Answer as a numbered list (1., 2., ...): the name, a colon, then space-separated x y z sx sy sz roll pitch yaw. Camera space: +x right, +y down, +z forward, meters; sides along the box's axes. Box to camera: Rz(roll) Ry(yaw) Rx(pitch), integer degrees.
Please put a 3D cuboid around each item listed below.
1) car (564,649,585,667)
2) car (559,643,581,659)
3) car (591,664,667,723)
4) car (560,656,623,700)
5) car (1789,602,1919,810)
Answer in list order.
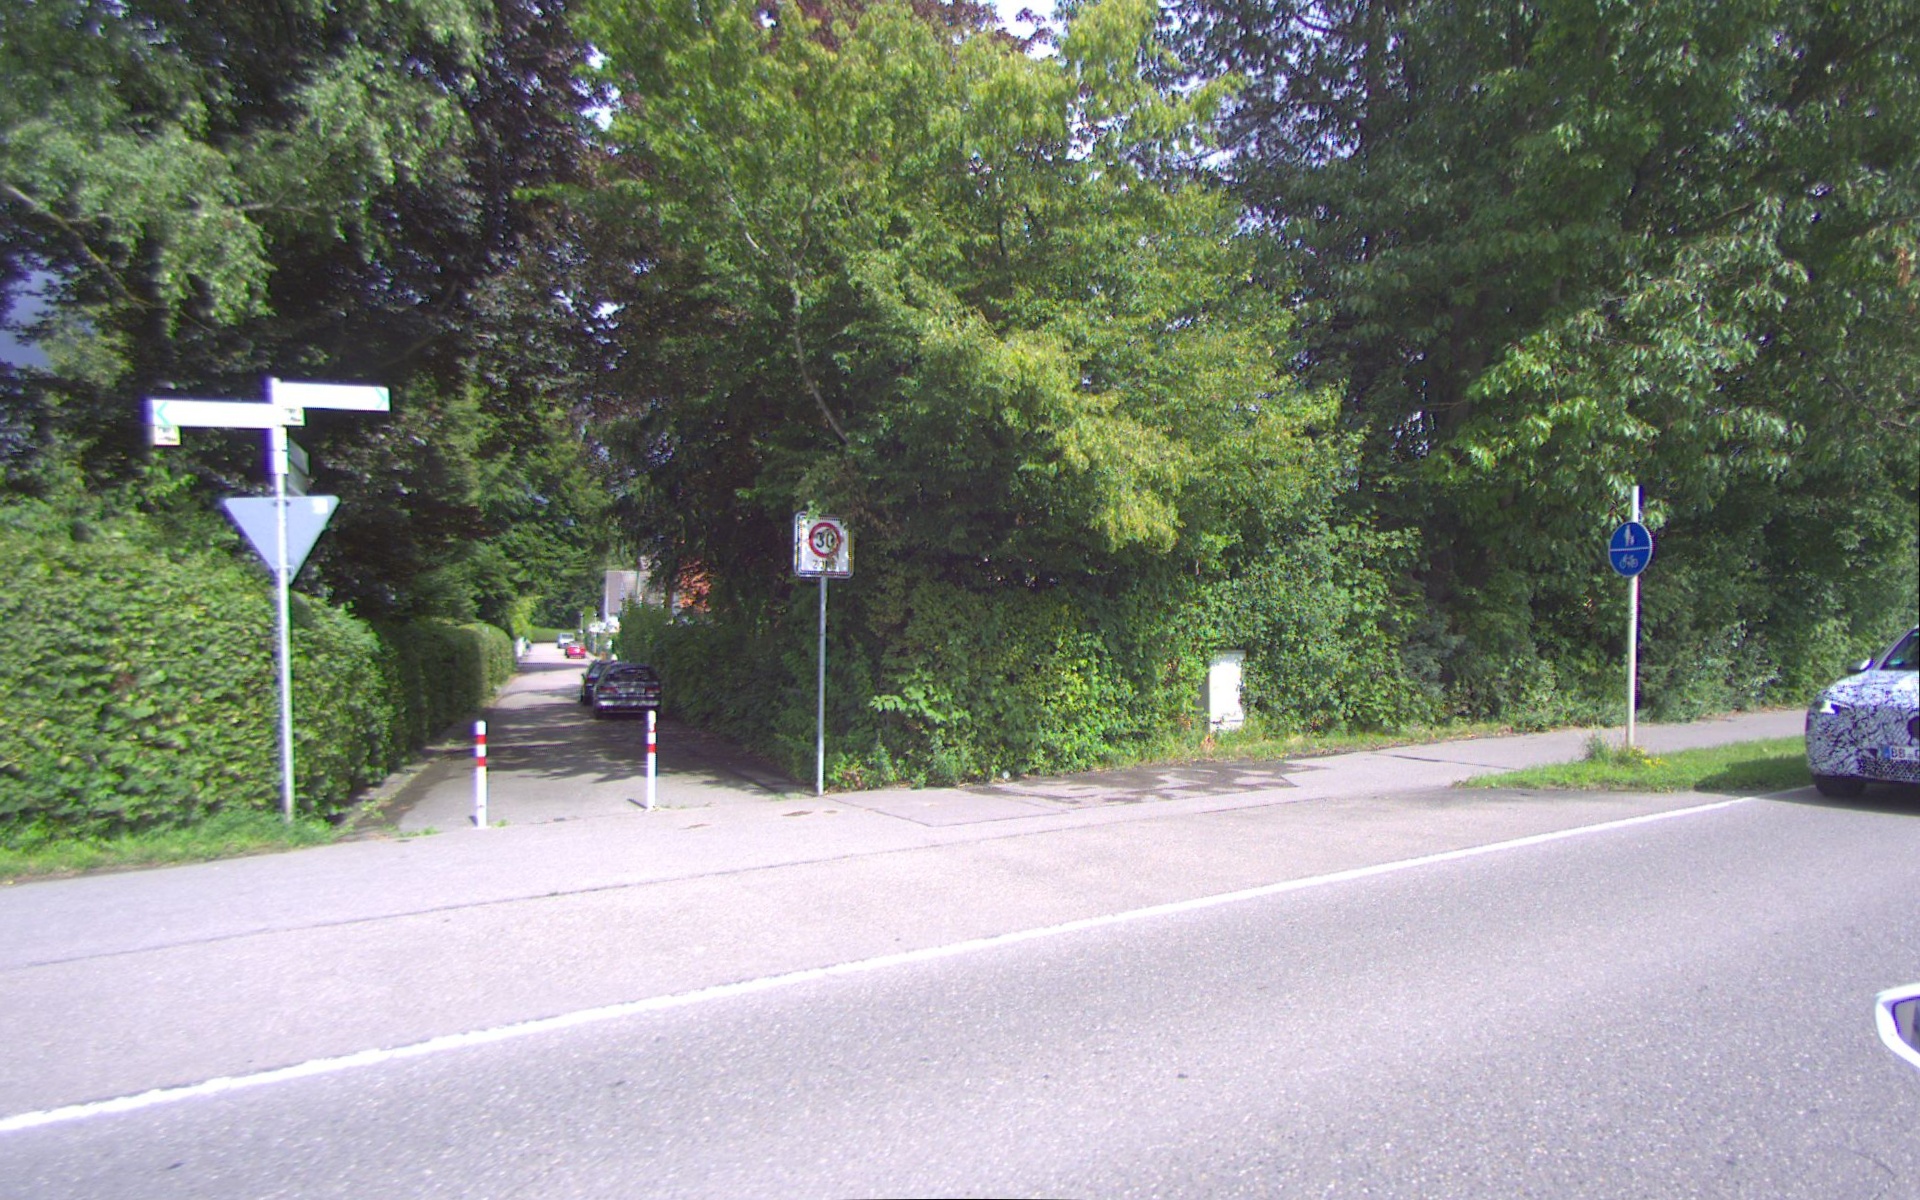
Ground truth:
1. car: -37.208 5.583 96.861 1.564 1.661 3.974 0 -2 -26
2. car: -49.676 6.492 127.912 1.976 2.040 3.969 1 -2 -30
3. car: -9.027 2.474 27.224 1.742 1.381 3.981 2 -3 -21
4. car: -12.413 2.580 33.711 1.564 1.315 3.974 1 -2 -26
5. car: 9.569 0.878 9.145 4.243 1.672 1.802 1 -2 -31
